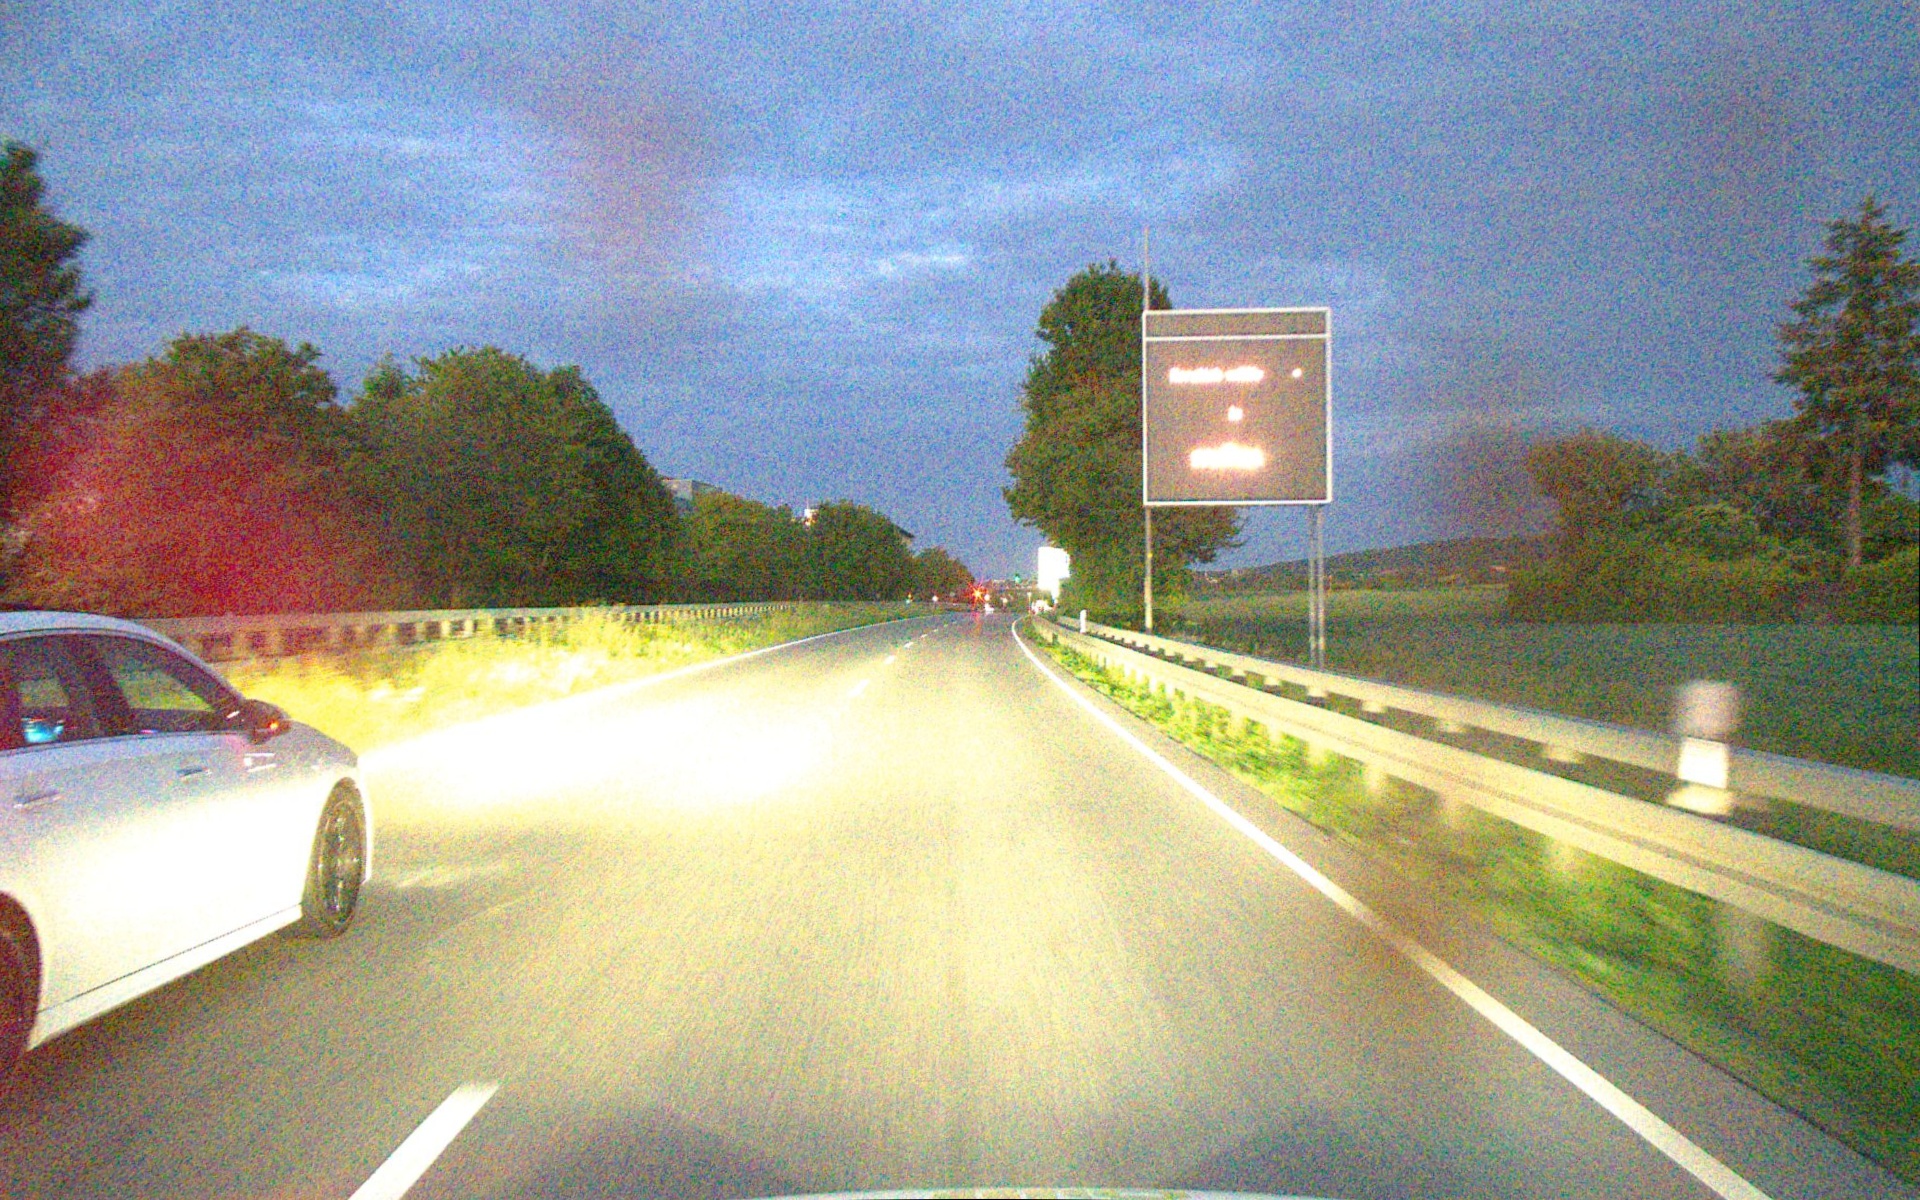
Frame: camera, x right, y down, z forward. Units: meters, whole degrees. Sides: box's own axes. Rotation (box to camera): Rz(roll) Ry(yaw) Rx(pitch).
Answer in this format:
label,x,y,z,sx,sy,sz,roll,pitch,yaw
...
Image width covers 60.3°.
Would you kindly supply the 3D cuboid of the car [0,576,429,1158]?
label,x,y,z,sx,sy,sz,roll,pitch,yaw
car,-3.335,0.685,5.711,1.609,1.516,4.578,1,0,-2
